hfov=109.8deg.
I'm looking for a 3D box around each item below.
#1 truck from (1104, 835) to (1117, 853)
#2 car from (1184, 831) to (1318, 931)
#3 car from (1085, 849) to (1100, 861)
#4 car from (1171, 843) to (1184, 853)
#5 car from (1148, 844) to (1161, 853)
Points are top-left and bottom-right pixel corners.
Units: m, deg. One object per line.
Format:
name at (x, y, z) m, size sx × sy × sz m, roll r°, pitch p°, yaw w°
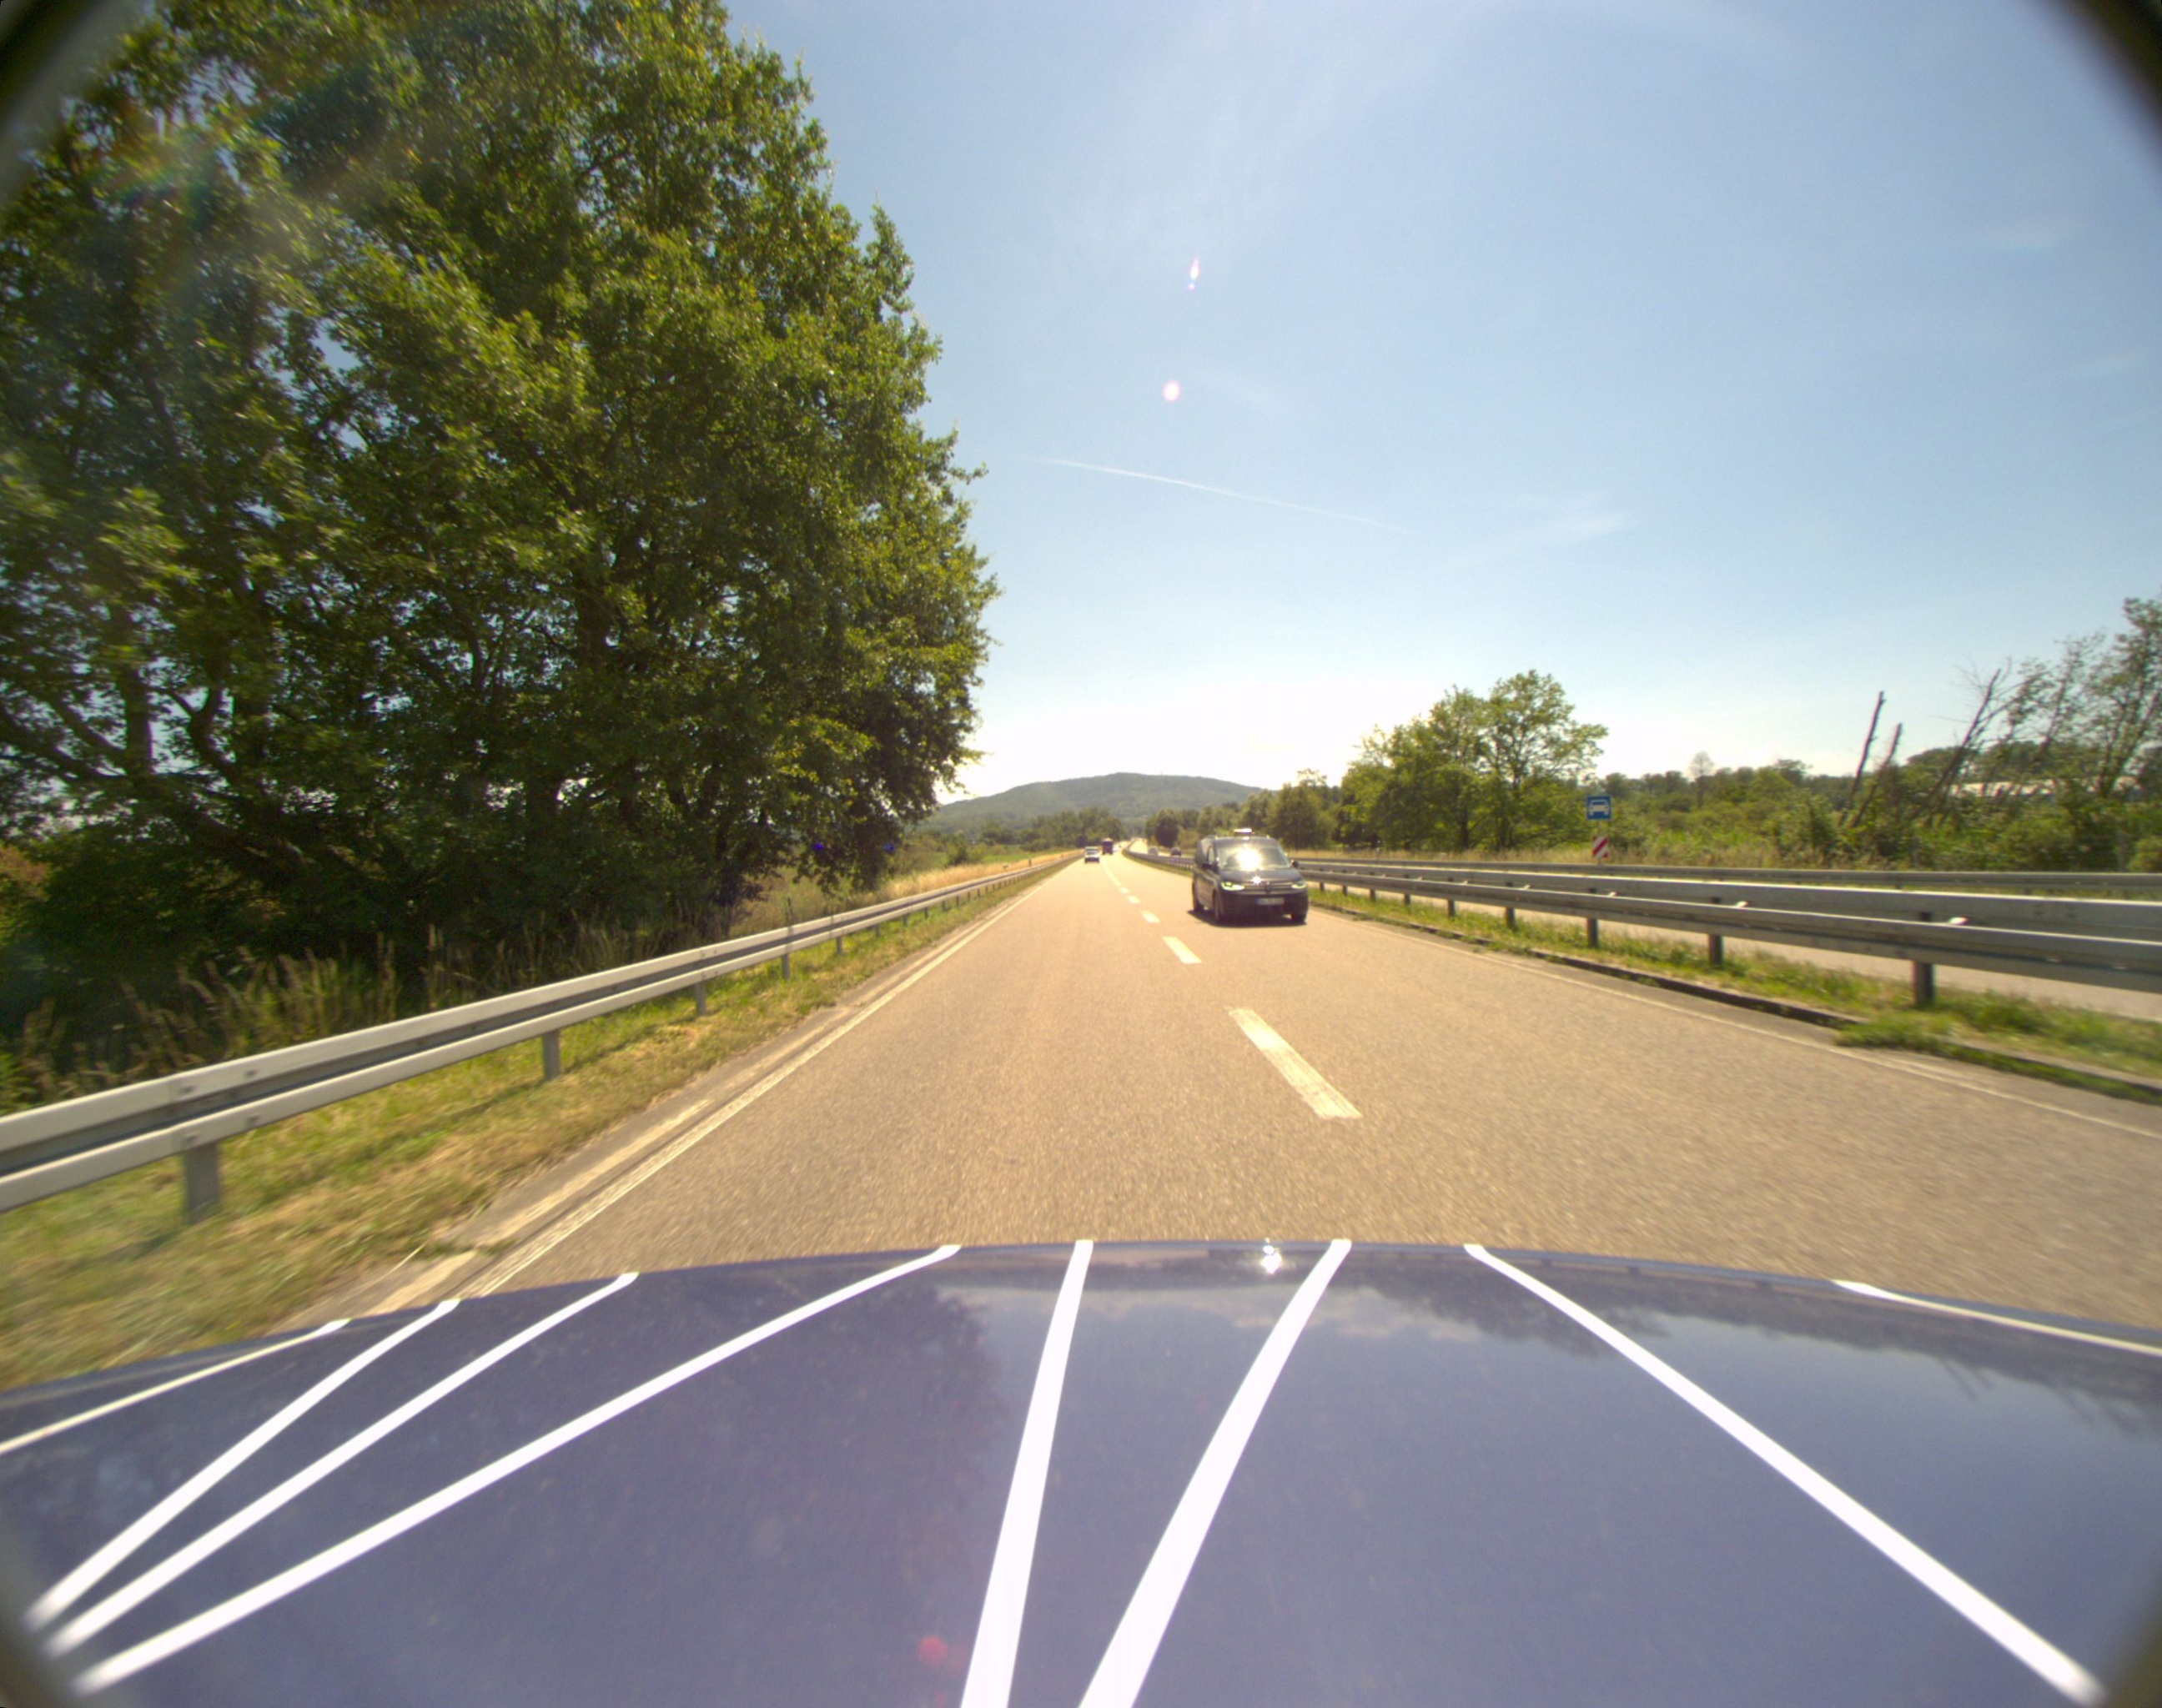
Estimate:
truck at (7.153, -2.472, 184.166) m, size 2.826 × 4.143 × 9.948 m, roll -2°, pitch 1°, yaw 3°
car at (3.611, 0.492, 17.240) m, size 1.859 × 1.876 × 5.573 m, roll -1°, pitch 1°, yaw 1°
car at (1.374, 0.084, 90.573) m, size 1.577 × 1.387 × 3.486 m, roll -2°, pitch 1°, yaw 3°
car at (17.128, -1.101, 135.474) m, size 1.846 × 1.608 × 4.170 m, roll -2°, pitch 0°, yaw 1°
car at (14.057, -1.054, 145.941) m, size 1.984 × 1.797 × 4.968 m, roll -2°, pitch 0°, yaw 1°
